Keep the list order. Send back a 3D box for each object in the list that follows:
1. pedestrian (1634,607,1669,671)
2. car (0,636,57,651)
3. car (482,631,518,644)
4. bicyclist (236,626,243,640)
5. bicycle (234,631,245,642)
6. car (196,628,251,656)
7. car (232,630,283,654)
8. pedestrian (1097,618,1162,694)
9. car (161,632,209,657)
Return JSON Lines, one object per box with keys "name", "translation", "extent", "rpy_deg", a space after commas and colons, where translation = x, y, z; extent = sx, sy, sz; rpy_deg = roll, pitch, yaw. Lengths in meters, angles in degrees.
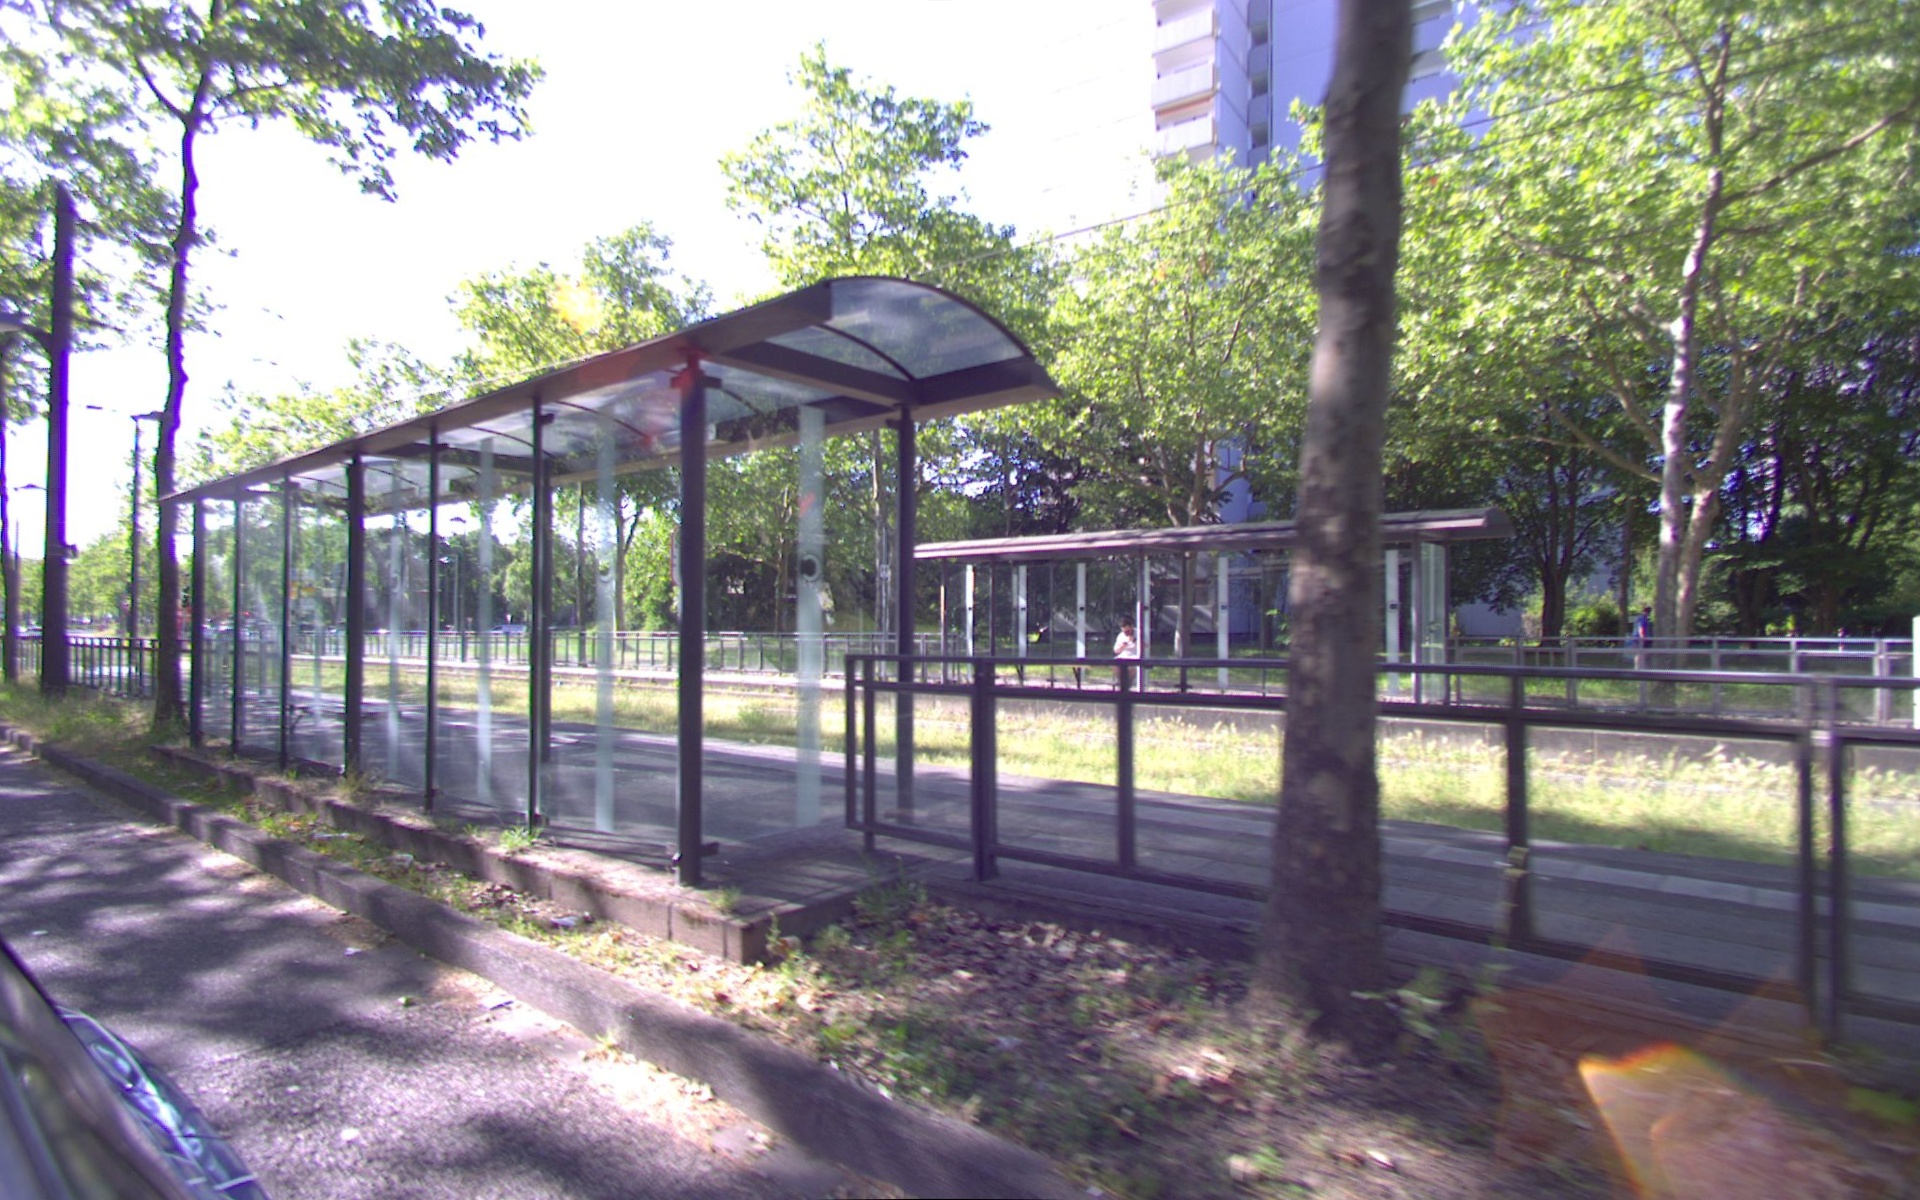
{"name": "pedestrian", "translation": [18.412, 1.030, 26.944], "extent": [0.650, 1.674, 0.641], "rpy_deg": [-2, -2, 41]}
{"name": "car", "translation": [-95.421, 4.424, 103.720], "extent": [3.930, 1.522, 1.806], "rpy_deg": [1, -3, -24]}
{"name": "car", "translation": [-56.261, 4.569, 123.870], "extent": [3.930, 1.522, 1.806], "rpy_deg": [0, -2, -24]}
{"name": "bicyclist", "translation": [-75.244, 3.415, 105.690], "extent": [0.778, 1.458, 0.493], "rpy_deg": [-2, -3, 43]}
{"name": "bicycle", "translation": [-75.244, 3.800, 105.678], "extent": [1.800, 1.116, 0.493], "rpy_deg": [-2, -2, 43]}
{"name": "car", "translation": [-45.259, 2.571, 62.170], "extent": [4.264, 1.620, 1.776], "rpy_deg": [-2, -2, 41]}
{"name": "car", "translation": [-46.534, 2.784, 67.028], "extent": [4.264, 1.522, 1.776], "rpy_deg": [-2, -2, 41]}
{"name": "pedestrian", "translation": [2.797, 0.907, 16.665], "extent": [0.762, 1.192, 0.758], "rpy_deg": [-2, -2, 41]}
{"name": "car", "translation": [-53.298, 3.069, 69.618], "extent": [4.230, 1.629, 1.776], "rpy_deg": [-2, -2, 40]}
